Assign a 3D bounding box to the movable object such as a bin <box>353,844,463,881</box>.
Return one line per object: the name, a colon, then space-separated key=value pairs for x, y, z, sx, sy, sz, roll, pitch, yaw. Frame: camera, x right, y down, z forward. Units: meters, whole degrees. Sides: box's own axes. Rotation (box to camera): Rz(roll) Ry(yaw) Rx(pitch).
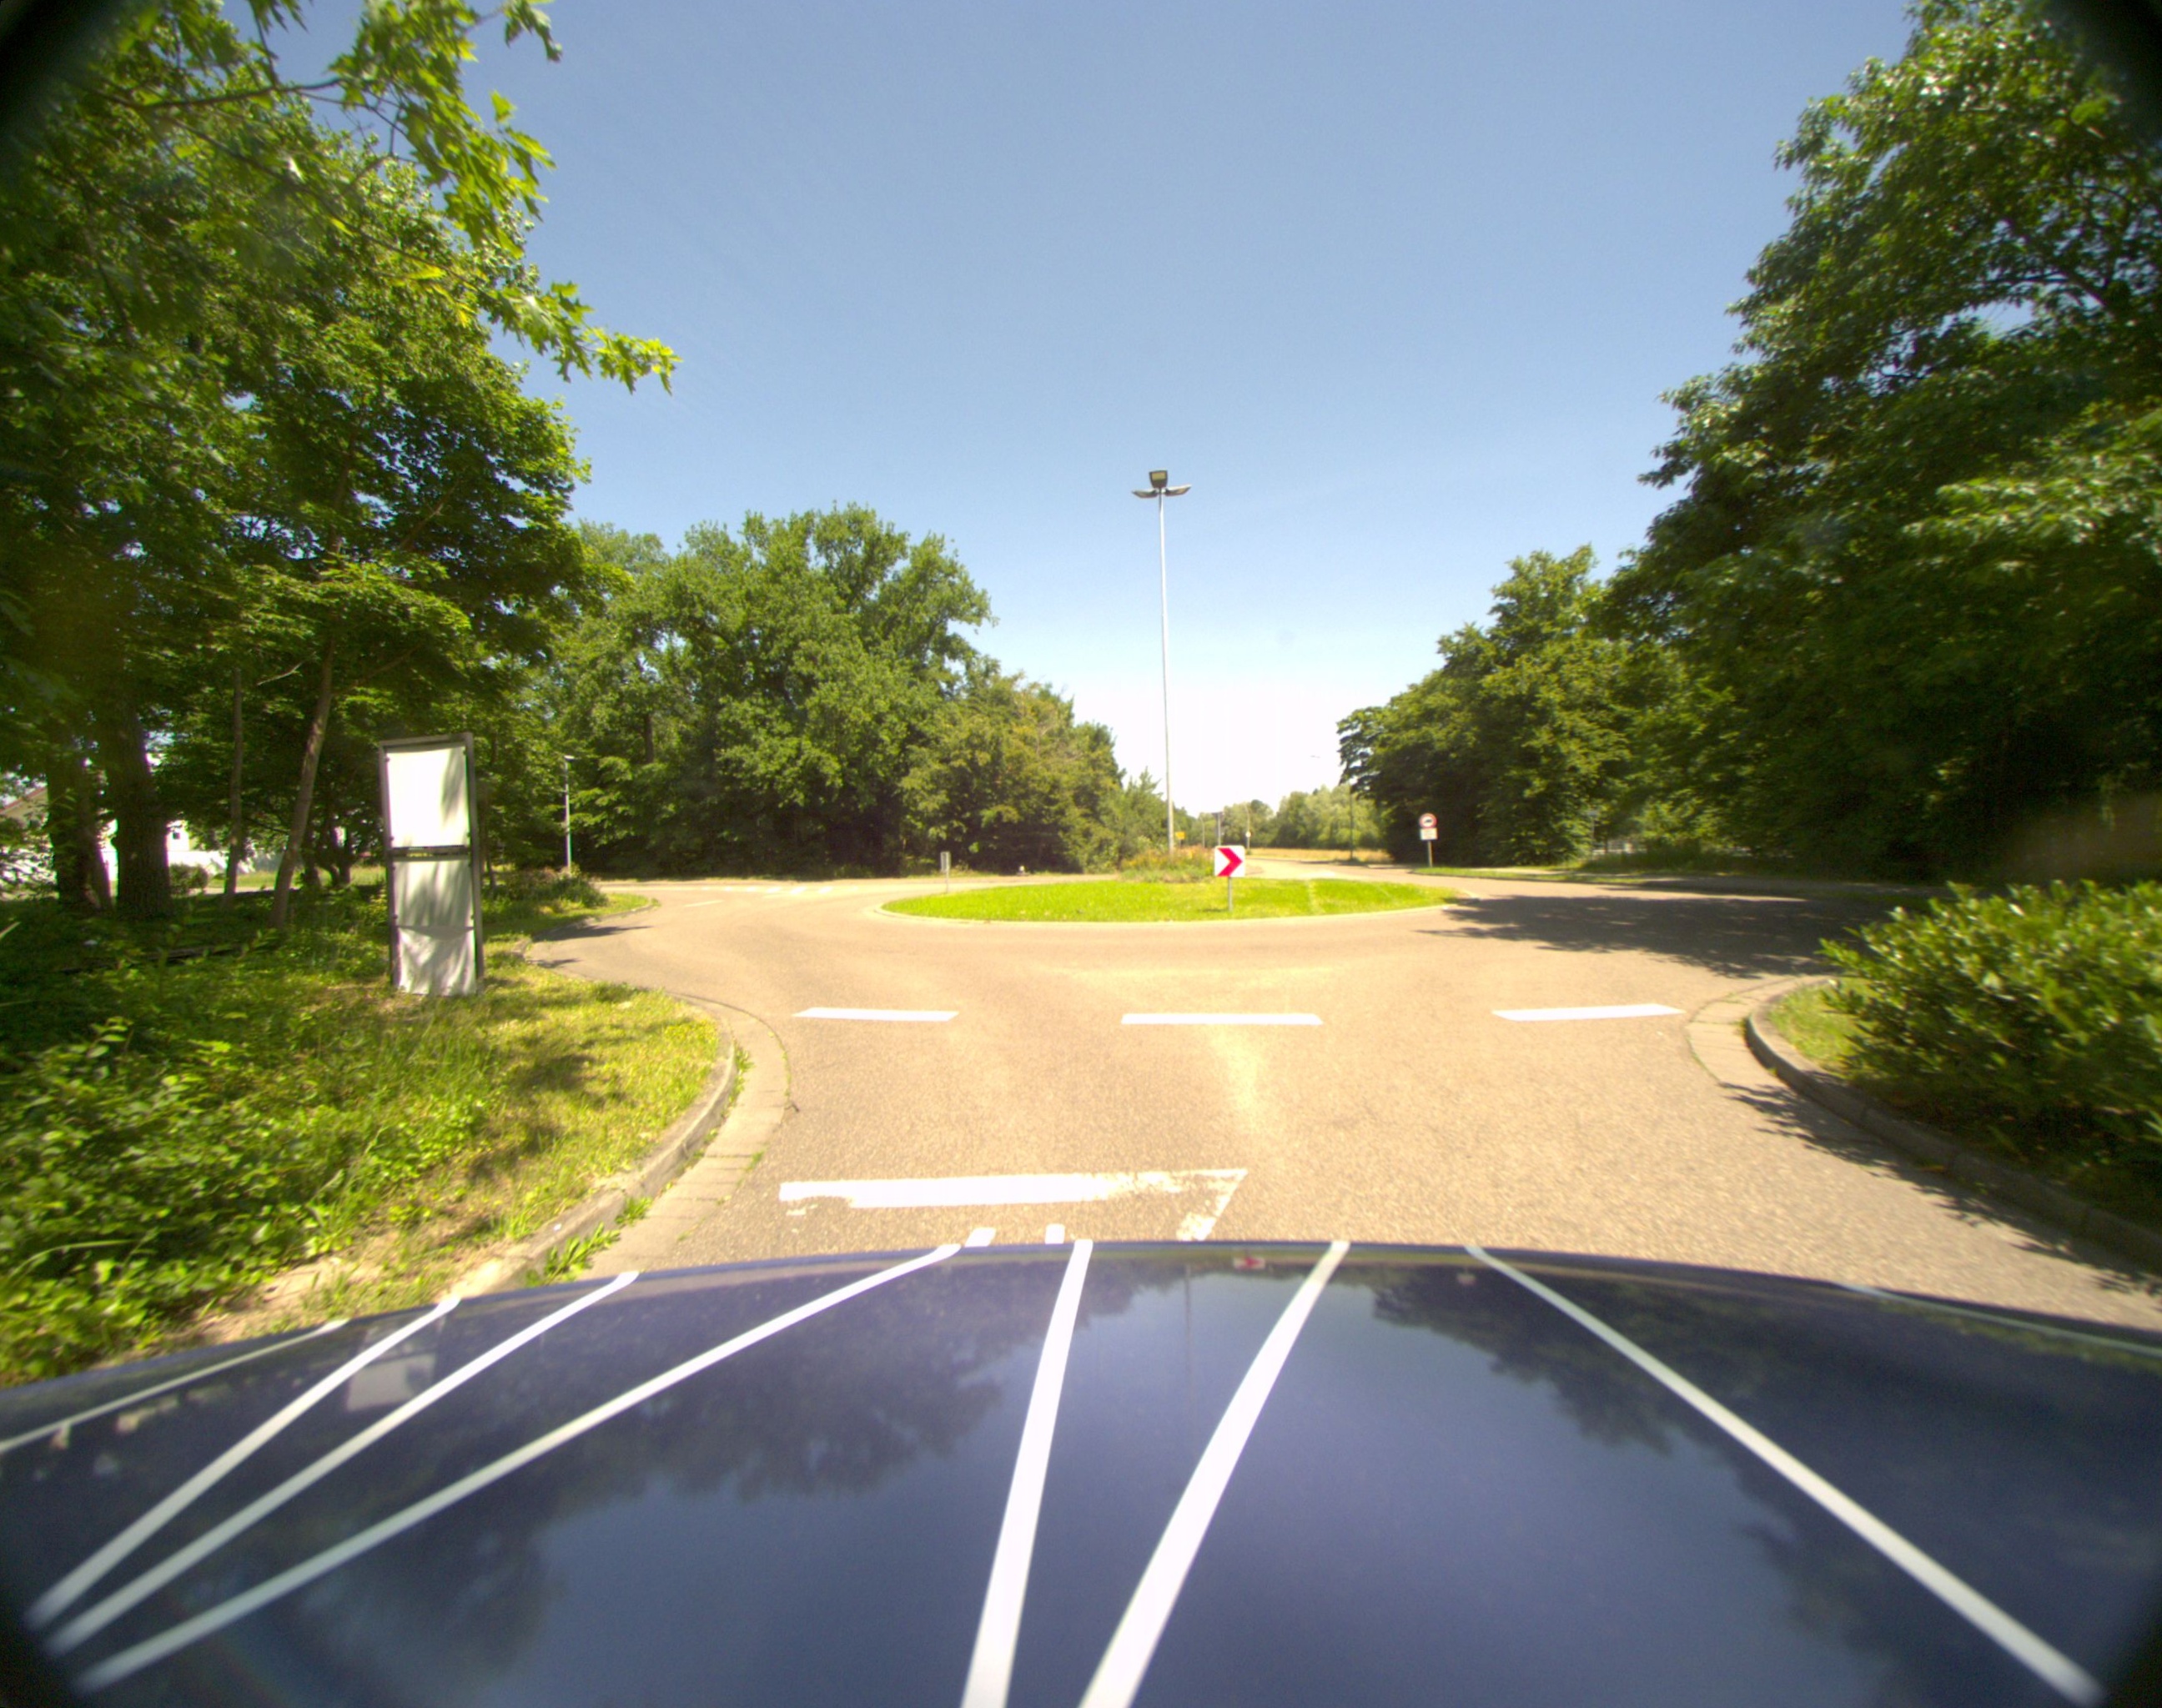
movable object such as a bin: x=-43.907 y=0.516 z=49.661 sx=5.232 sy=2.263 sz=2.525 roll=-1 pitch=1 yaw=9
